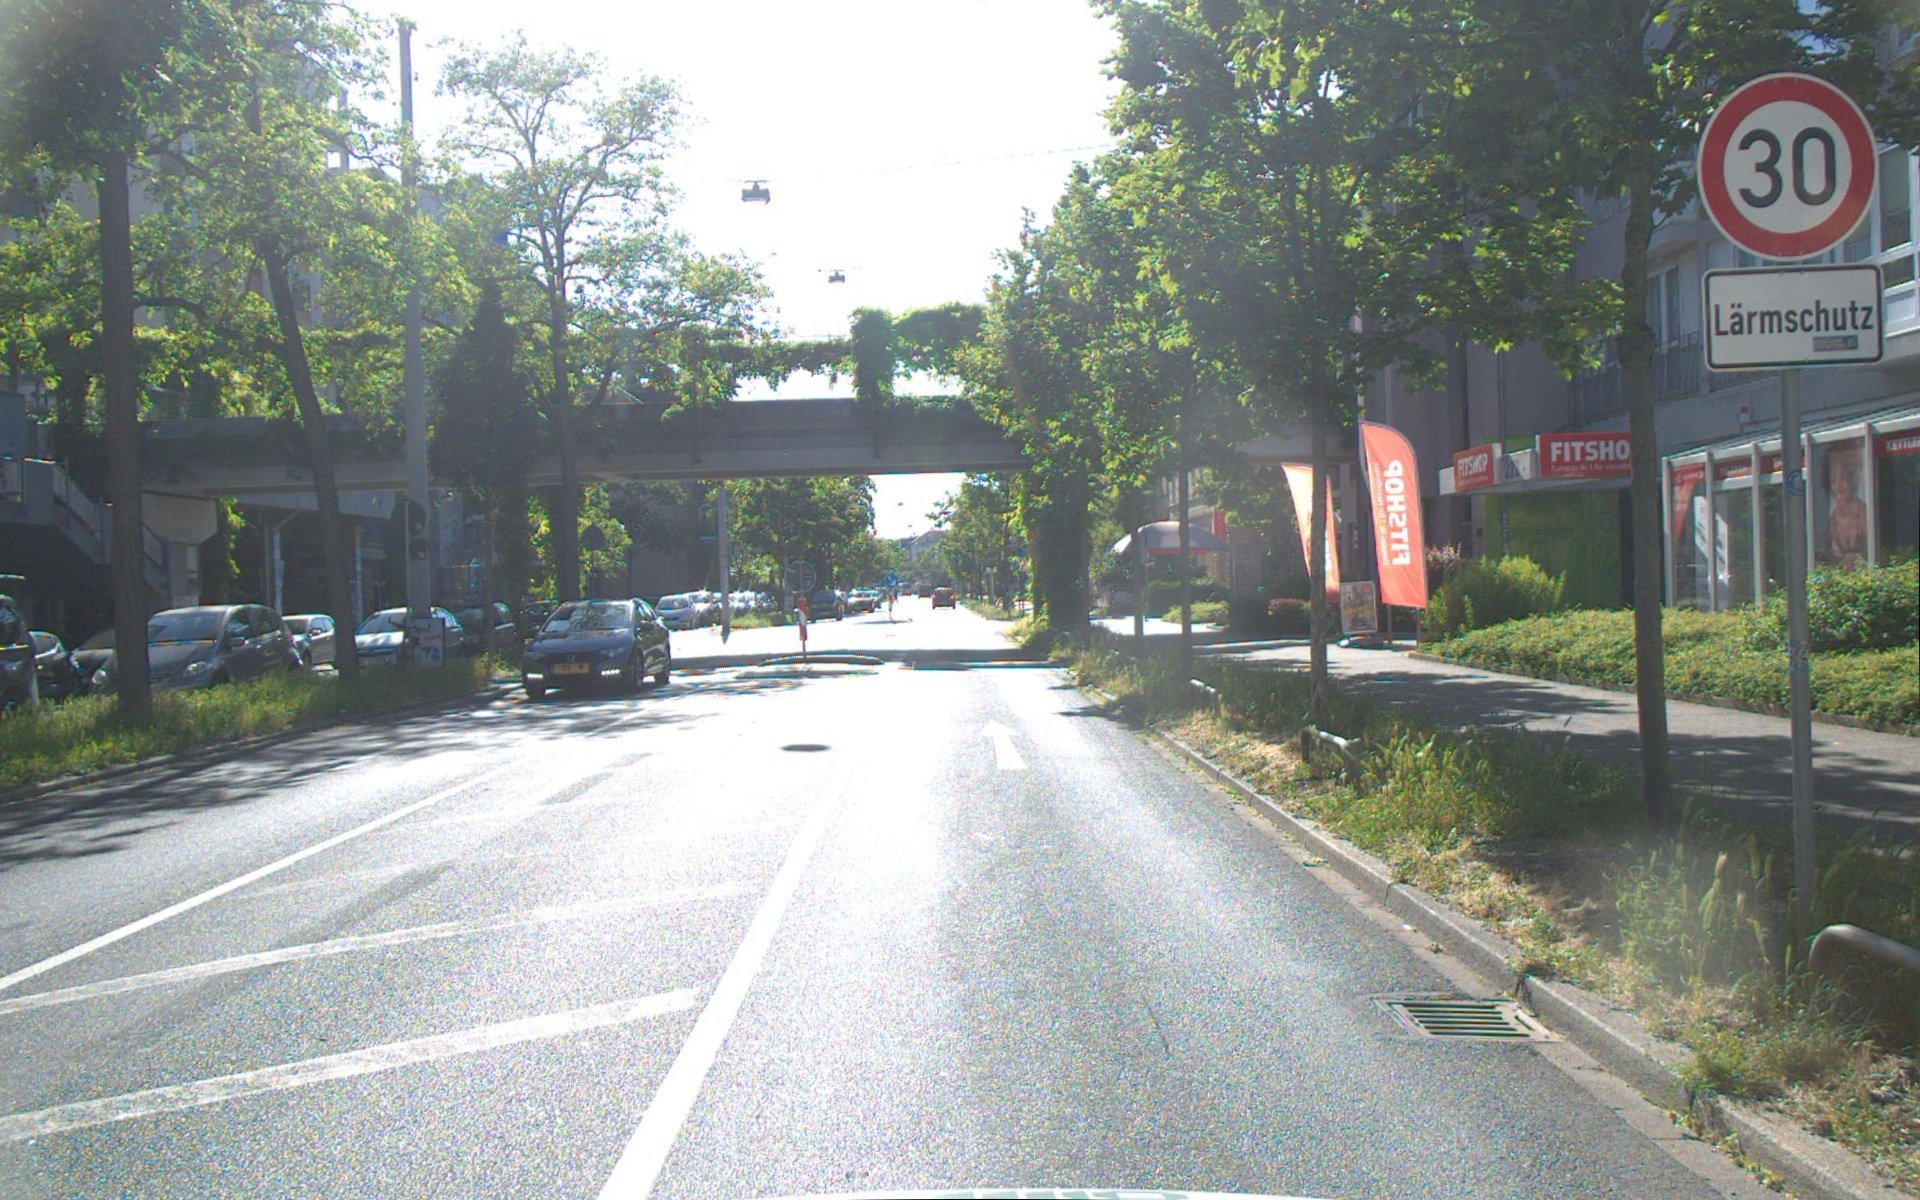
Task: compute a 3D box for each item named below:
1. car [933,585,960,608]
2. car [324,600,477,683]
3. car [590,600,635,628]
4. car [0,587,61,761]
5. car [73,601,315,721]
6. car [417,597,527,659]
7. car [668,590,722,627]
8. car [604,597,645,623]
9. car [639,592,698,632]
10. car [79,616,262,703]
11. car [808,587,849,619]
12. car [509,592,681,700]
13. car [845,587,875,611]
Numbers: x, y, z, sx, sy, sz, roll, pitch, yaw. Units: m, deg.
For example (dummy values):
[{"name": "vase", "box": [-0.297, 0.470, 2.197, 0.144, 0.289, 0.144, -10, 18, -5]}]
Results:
[{"name": "car", "box": [-0.973, -0.270, 118.107, 1.817, 1.549, 4.319, -1, 1, 0]}, {"name": "car", "box": [-11.559, 0.804, 34.491, 1.818, 1.549, 4.317, -1, 1, -2]}, {"name": "car", "box": [-20.343, 0.820, 96.884, 1.818, 1.549, 4.317, -1, 1, -2]}, {"name": "car", "box": [-11.275, 0.824, 16.870, 1.818, 1.882, 4.560, -1, 1, -2]}, {"name": "car", "box": [-11.344, 0.845, 24.801, 1.818, 1.595, 3.871, -1, 1, 0]}, {"name": "car", "box": [-11.362, 0.626, 38.706, 1.600, 1.330, 3.581, -1, 1, -2]}, {"name": "car", "box": [-11.931, 0.362, 74.672, 1.818, 1.549, 4.317, -1, 1, -2]}, {"name": "car", "box": [-20.839, 0.594, 102.884, 1.818, 1.549, 4.317, -1, 1, -2]}, {"name": "car", "box": [-11.966, 0.474, 68.144, 1.818, 1.549, 4.076, -1, 1, -2]}, {"name": "car", "box": [-16.476, 1.193, 34.760, 1.818, 1.549, 4.317, -3, 1, -2]}, {"name": "car", "box": [-6.586, 0.141, 83.017, 1.818, 1.549, 4.317, -1, 1, -2]}, {"name": "car", "box": [-5.776, 0.670, 26.714, 1.818, 1.464, 4.318, -3, 1, -1]}, {"name": "car", "box": [-6.622, -0.080, 109.783, 1.818, 1.549, 4.317, -1, 1, -2]}]
